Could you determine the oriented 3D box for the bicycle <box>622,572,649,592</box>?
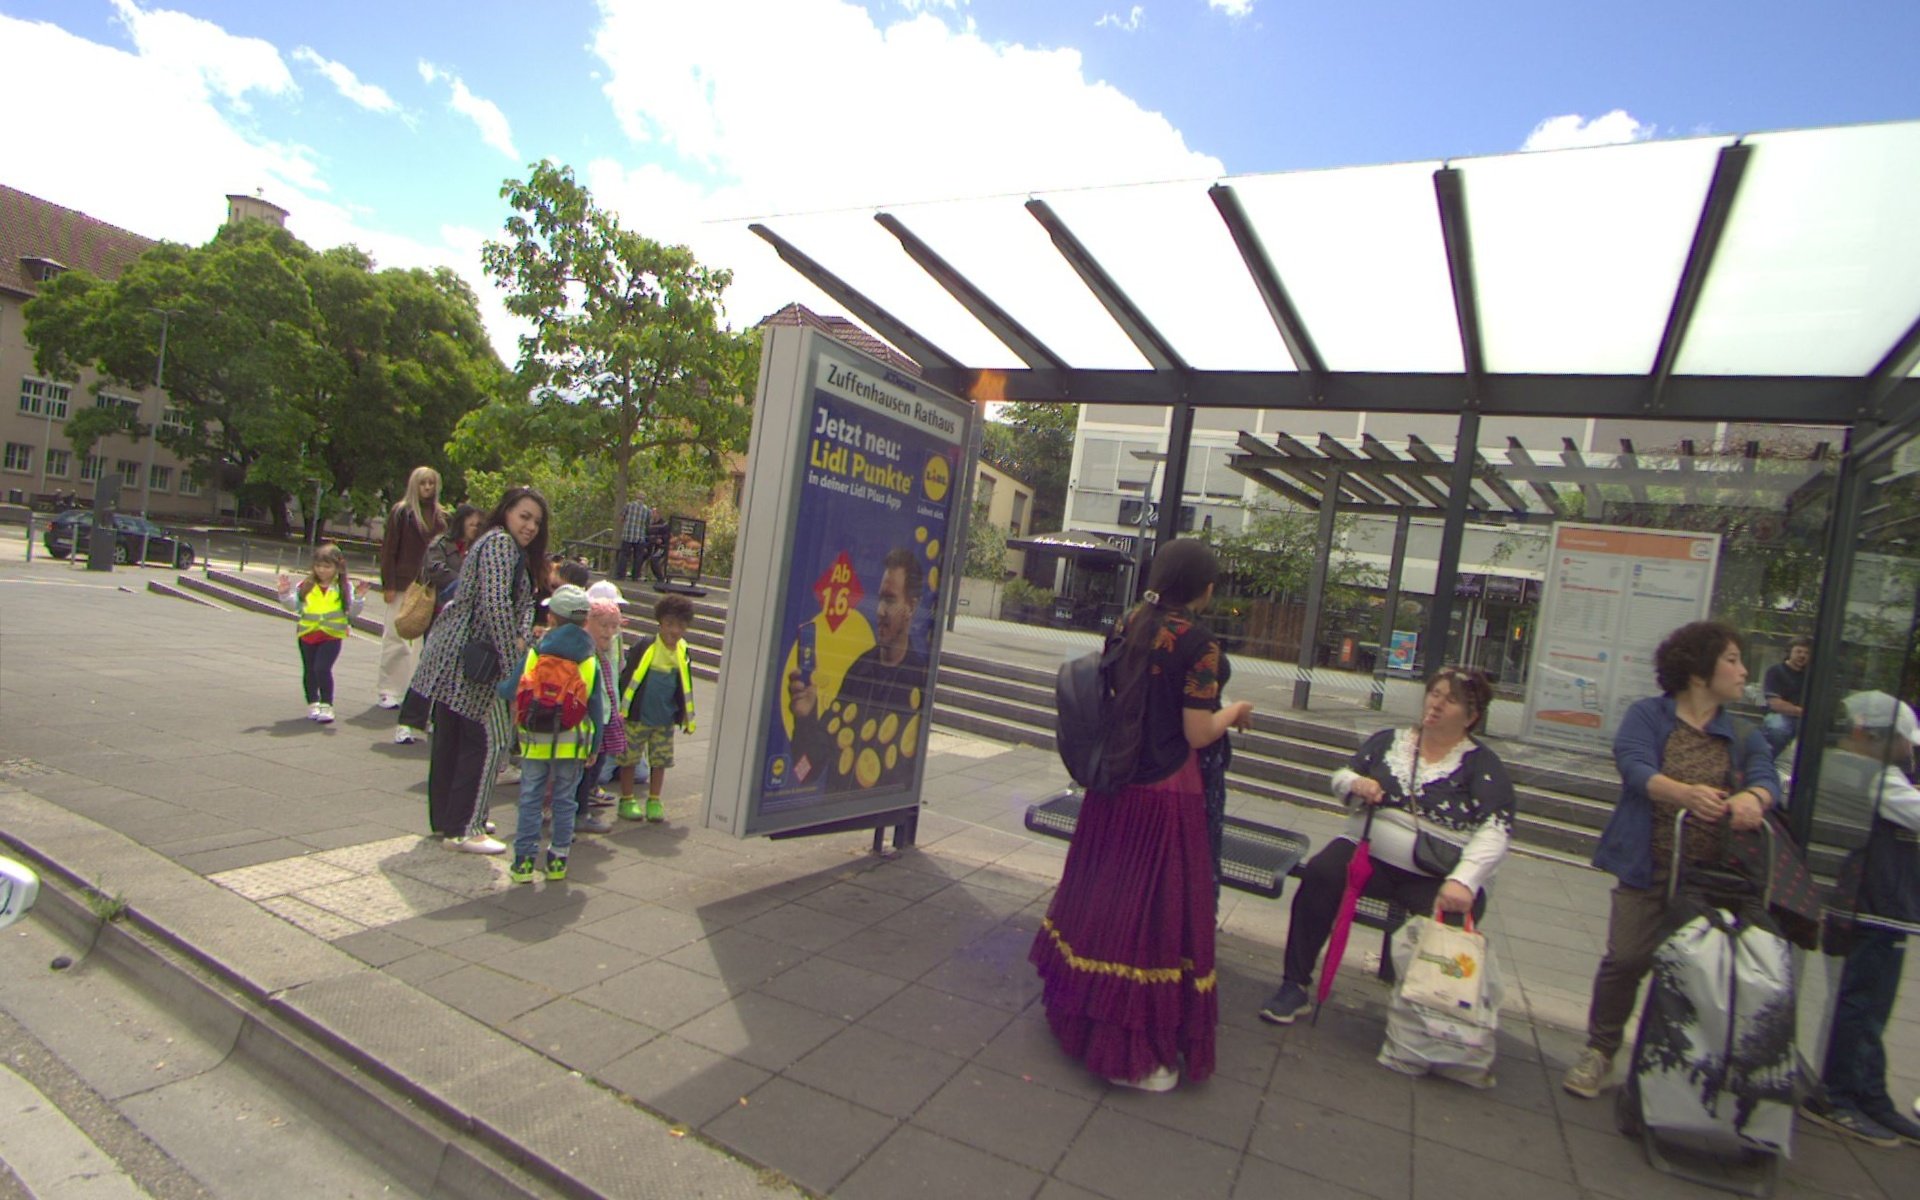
[{"bbox_3d":[-21.724,-1.194,67.325,1.544,1.104,0.578,8,0,19],"label":"bicycle"}]

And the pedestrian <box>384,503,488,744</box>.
[{"bbox_3d":[-3.500,0.152,6.721,0.384,1.537,0.389,7,3,37],"label":"pedestrian"}]

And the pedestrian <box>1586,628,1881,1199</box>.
[{"bbox_3d":[2.075,0.826,2.755,0.408,1.462,0.378,7,3,24],"label":"pedestrian"}]

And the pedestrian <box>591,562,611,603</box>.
[{"bbox_3d":[-15.001,-0.728,42.012,0.548,1.648,0.673,7,-1,-27],"label":"pedestrian"}]

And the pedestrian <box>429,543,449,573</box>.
[{"bbox_3d":[-29.483,-2.397,56.961,0.572,1.596,0.616,7,0,8],"label":"pedestrian"}]

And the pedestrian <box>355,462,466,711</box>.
[{"bbox_3d":[-4.255,-0.100,7.790,0.430,1.847,0.538,8,3,42],"label":"pedestrian"}]

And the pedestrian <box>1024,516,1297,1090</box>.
[{"bbox_3d":[0.579,0.581,3.056,0.489,1.586,0.500,6,2,-11],"label":"pedestrian"}]

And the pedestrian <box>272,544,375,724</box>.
[{"bbox_3d":[-4.415,0.232,6.998,0.470,1.188,0.388,5,3,-22],"label":"pedestrian"}]

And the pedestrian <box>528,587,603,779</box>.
[{"bbox_3d":[-2.323,0.482,5.924,0.248,1.083,0.250,8,3,41],"label":"pedestrian"}]

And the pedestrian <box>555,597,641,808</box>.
[{"bbox_3d":[-1.935,0.538,5.386,0.248,1.083,0.250,7,3,26],"label":"pedestrian"}]

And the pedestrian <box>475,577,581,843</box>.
[{"bbox_3d":[-2.007,0.496,4.672,0.266,1.176,0.263,7,3,30],"label":"pedestrian"}]

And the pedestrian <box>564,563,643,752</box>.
[{"bbox_3d":[-2.458,0.389,6.936,0.322,1.255,0.330,3,4,-45],"label":"pedestrian"}]

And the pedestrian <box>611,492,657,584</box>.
[{"bbox_3d":[-5.671,-1.081,17.516,0.499,1.527,0.450,6,2,-34],"label":"pedestrian"}]

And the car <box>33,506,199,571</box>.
[{"bbox_3d":[-24.256,-1.706,29.113,1.585,1.399,3.835,7,-1,-3],"label":"car"}]

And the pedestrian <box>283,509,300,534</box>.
[{"bbox_3d":[-43.697,-5.152,65.780,0.696,1.510,0.806,9,-1,-41],"label":"pedestrian"}]

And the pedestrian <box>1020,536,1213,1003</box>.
[{"bbox_3d":[0.552,0.588,3.617,0.389,1.586,0.350,6,2,-23],"label":"pedestrian"}]

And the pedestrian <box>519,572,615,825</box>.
[{"bbox_3d":[-1.929,0.474,4.945,0.246,1.189,0.252,7,3,20],"label":"pedestrian"}]

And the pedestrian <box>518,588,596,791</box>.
[{"bbox_3d":[-2.233,0.489,5.576,0.250,1.083,0.248,3,3,-43],"label":"pedestrian"}]

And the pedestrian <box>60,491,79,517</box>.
[{"bbox_3d":[-47.715,-5.137,53.912,0.482,1.236,0.577,8,-1,-24],"label":"pedestrian"}]

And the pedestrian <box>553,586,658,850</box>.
[{"bbox_3d":[-1.656,0.539,4.691,0.296,1.167,0.290,4,3,-38],"label":"pedestrian"}]

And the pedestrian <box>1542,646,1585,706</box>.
[{"bbox_3d":[14.275,1.783,23.805,0.535,1.340,0.569,7,0,4],"label":"pedestrian"}]

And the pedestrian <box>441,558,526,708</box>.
[{"bbox_3d":[-3.872,0.268,8.179,0.378,1.163,0.438,8,3,43],"label":"pedestrian"}]

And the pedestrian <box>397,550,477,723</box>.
[{"bbox_3d":[-3.871,0.263,7.434,0.387,1.214,0.506,4,3,-35],"label":"pedestrian"}]

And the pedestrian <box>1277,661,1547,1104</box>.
[{"bbox_3d":[1.435,0.852,3.245,0.622,1.228,0.378,7,3,24],"label":"pedestrian"}]

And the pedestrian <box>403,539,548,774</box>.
[{"bbox_3d":[-2.888,0.327,6.030,0.588,1.321,0.432,5,2,-4],"label":"pedestrian"}]

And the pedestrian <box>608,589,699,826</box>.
[{"bbox_3d":[-1.580,0.542,5.204,0.316,1.167,0.318,5,2,-9],"label":"pedestrian"}]

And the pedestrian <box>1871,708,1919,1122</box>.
[{"bbox_3d":[3.493,0.848,3.236,0.566,1.702,0.512,7,2,30],"label":"pedestrian"}]

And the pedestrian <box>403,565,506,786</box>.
[{"bbox_3d":[-2.819,0.410,5.625,0.345,1.182,0.335,4,2,-1],"label":"pedestrian"}]

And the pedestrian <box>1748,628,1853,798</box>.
[{"bbox_3d":[7.166,0.958,8.595,0.537,1.340,0.567,7,0,40],"label":"pedestrian"}]

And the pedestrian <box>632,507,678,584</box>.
[{"bbox_3d":[-5.504,-0.981,18.157,0.631,1.302,0.363,8,2,35],"label":"pedestrian"}]

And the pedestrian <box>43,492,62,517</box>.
[{"bbox_3d":[-47.956,-5.057,53.177,0.482,1.196,0.577,8,-1,-24],"label":"pedestrian"}]

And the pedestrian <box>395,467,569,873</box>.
[{"bbox_3d":[-2.072,0.281,4.357,0.461,1.641,0.387,7,3,32],"label":"pedestrian"}]

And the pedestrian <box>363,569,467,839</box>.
[{"bbox_3d":[-2.465,0.458,4.549,0.245,1.167,0.274,8,3,42],"label":"pedestrian"}]

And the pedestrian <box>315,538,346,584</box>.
[{"bbox_3d":[-23.122,-1.433,36.943,0.775,1.534,0.550,10,3,34],"label":"pedestrian"}]

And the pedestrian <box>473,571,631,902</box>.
[{"bbox_3d":[-1.653,0.532,4.069,0.400,1.242,0.384,5,2,-38],"label":"pedestrian"}]
